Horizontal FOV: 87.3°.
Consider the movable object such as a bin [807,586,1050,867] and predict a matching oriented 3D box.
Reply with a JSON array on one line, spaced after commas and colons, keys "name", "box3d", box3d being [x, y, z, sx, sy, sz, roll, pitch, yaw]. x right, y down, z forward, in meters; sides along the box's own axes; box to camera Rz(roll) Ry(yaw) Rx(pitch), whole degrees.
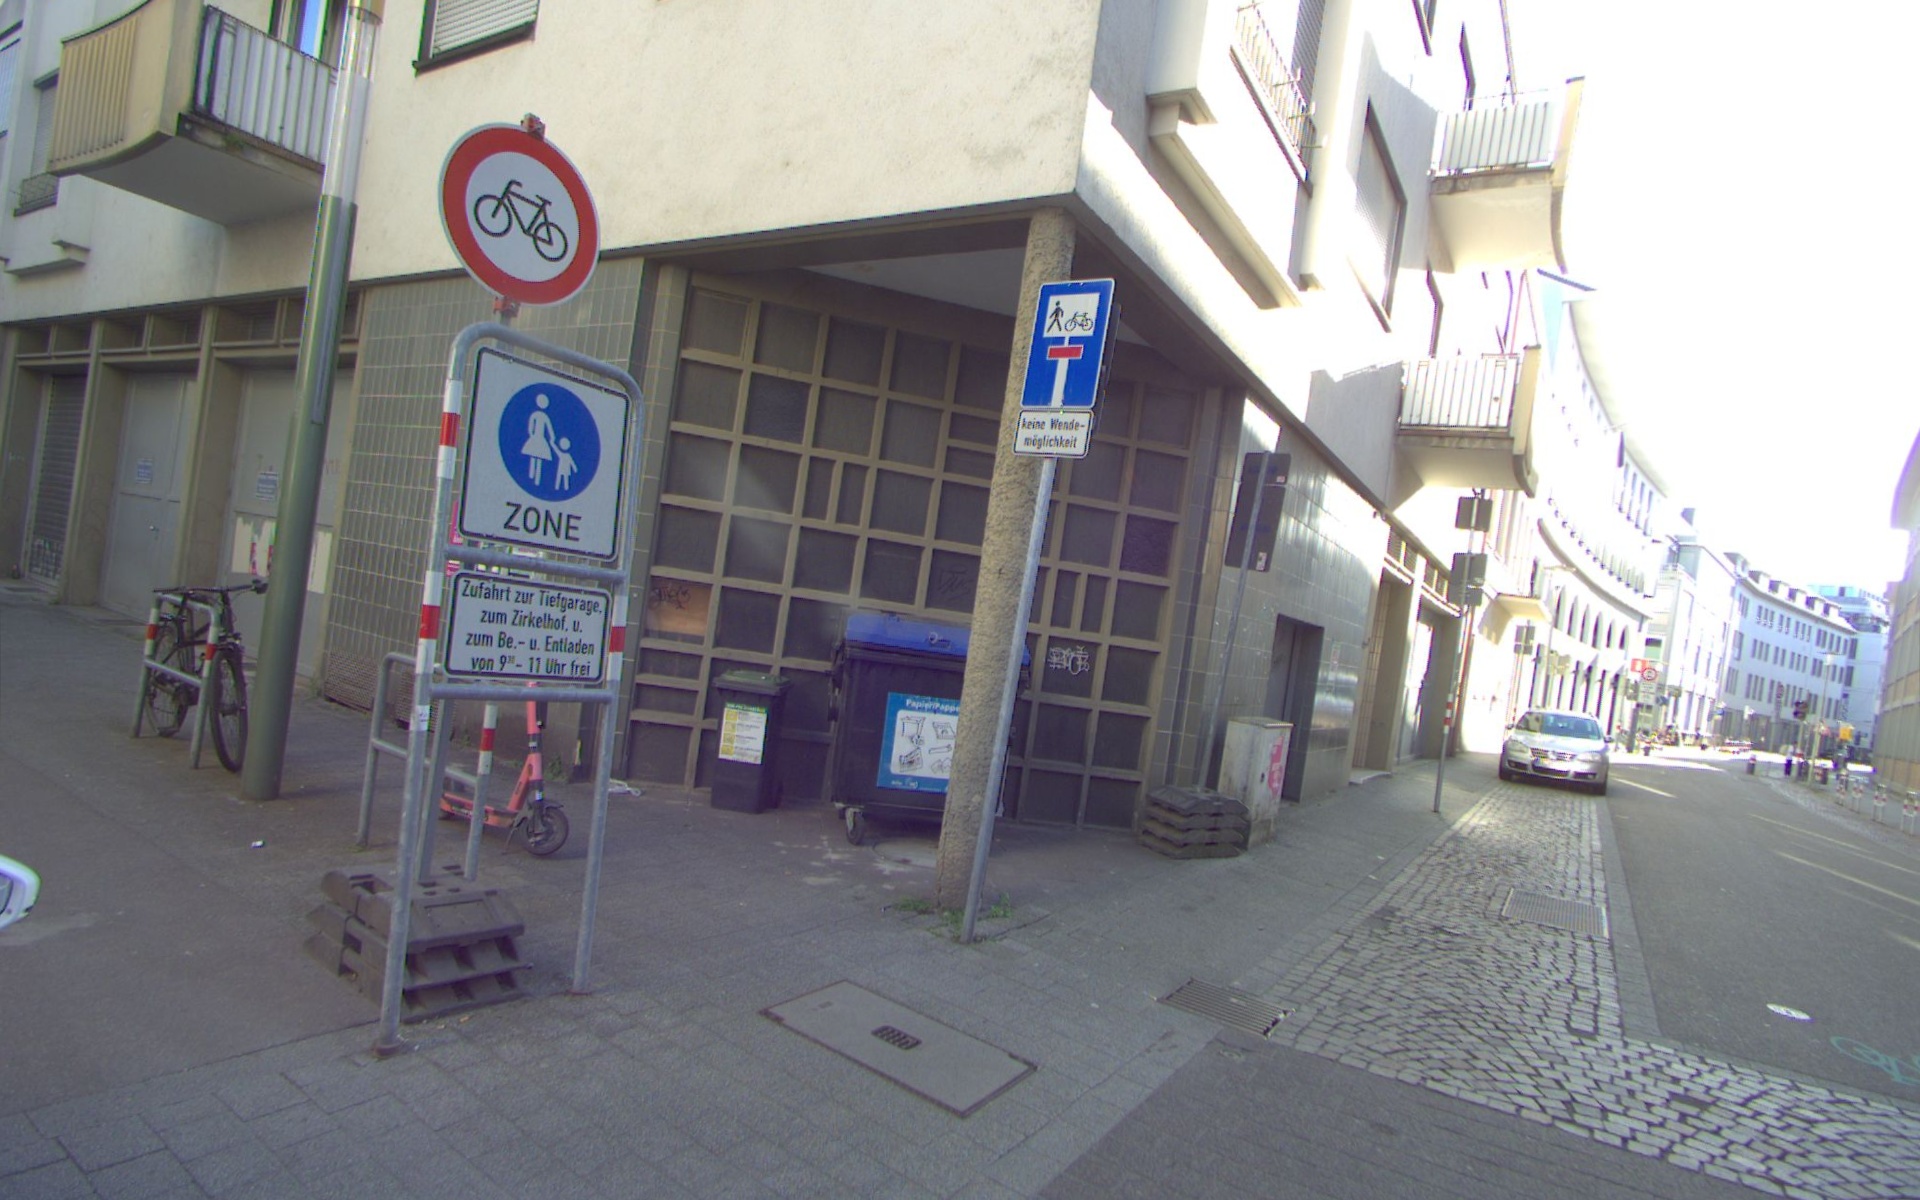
[{"name": "movable object such as a bin", "box3d": [-0.269, 0.804, 6.855, 1.271, 1.609, 1.152, 8, 1, -12]}]

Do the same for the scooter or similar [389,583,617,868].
[{"name": "scooter or similar", "box3d": [-2.435, 0.618, 5.318, 1.218, 1.268, 0.307, 7, 0, 30]}]

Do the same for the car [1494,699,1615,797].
[{"name": "car", "box3d": [11.691, 2.810, 19.686, 1.742, 1.487, 3.805, 6, -2, 33]}]

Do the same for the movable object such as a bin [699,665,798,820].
[{"name": "movable object such as a bin", "box3d": [-1.452, 0.965, 6.888, 0.533, 0.935, 0.512, 7, 0, -14]}]

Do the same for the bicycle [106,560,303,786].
[{"name": "bicycle", "box3d": [-4.684, 0.402, 6.193, 1.684, 1.153, 0.446, 6, -1, 38]}]

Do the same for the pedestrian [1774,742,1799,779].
[{"name": "pedestrian", "box3d": [35.588, 6.894, 43.331, 0.649, 1.458, 0.594, 8, 0, 35]}]
